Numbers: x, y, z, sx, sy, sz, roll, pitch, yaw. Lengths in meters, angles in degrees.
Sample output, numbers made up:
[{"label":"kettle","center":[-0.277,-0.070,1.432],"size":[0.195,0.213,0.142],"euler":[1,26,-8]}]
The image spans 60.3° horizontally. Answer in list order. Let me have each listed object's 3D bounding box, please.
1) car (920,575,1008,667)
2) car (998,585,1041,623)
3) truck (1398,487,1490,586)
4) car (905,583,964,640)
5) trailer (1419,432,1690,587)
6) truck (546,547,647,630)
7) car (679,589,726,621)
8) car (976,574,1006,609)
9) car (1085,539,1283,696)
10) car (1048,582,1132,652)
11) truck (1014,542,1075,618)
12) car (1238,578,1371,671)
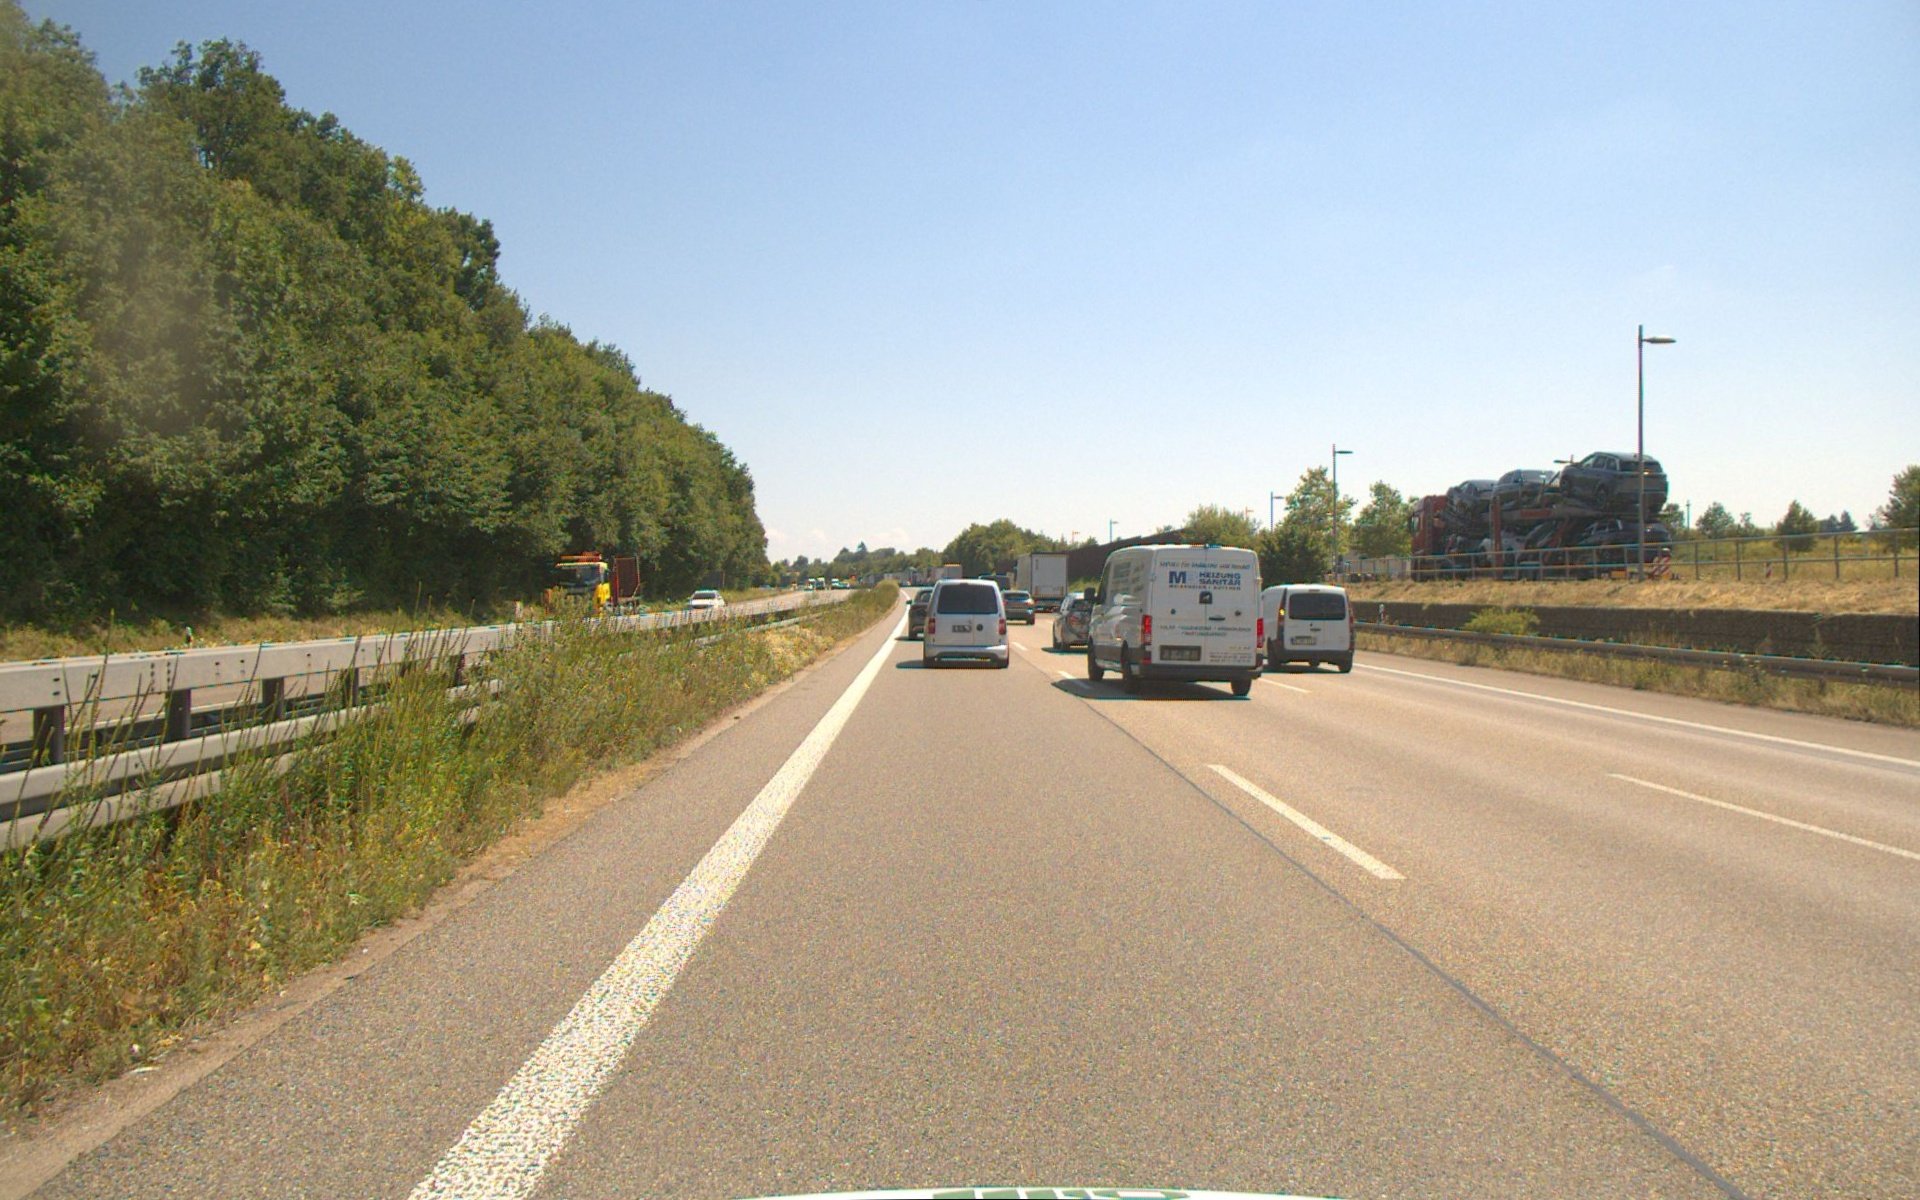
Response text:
[{"label":"car","center":[0.101,0.421,34.763],"size":[1.709,1.795,4.088],"euler":[-1,0,0]},{"label":"car","center":[2.755,0.189,77.286],"size":[1.862,1.701,4.088],"euler":[-1,0,0]},{"label":"truck","center":[20.069,-2.578,68.774],"size":[2.549,3.894,3.999],"euler":[1,0,-1]},{"label":"car","center":[-0.773,0.354,52.429],"size":[1.709,1.731,4.089],"euler":[-1,0,1]},{"label":"trailer","center":[20.251,-2.763,58.424],"size":[2.552,4.332,18.417],"euler":[1,0,-1]},{"label":"truck","center":[-17.896,-0.505,82.262],"size":[2.726,3.804,11.154],"euler":[1,0,-1]},{"label":"car","center":[-14.897,0.281,95.972],"size":[1.953,1.699,5.610],"euler":[-2,0,-1]},{"label":"car","center":[1.750,-0.465,94.763],"size":[1.640,1.925,4.088],"euler":[-1,0,0]},{"label":"car","center":[3.534,0.267,27.231],"size":[2.139,2.293,5.358],"euler":[1,0,-4]},{"label":"car","center":[3.409,0.443,44.088],"size":[1.935,1.763,4.088],"euler":[-1,0,0]},{"label":"truck","center":[5.962,-1.327,118.560],"size":[3.710,5.087,12.518],"euler":[1,0,0]},{"label":"car","center":[7.399,0.512,35.932],"size":[1.911,1.870,4.177],"euler":[-1,0,-2]}]
